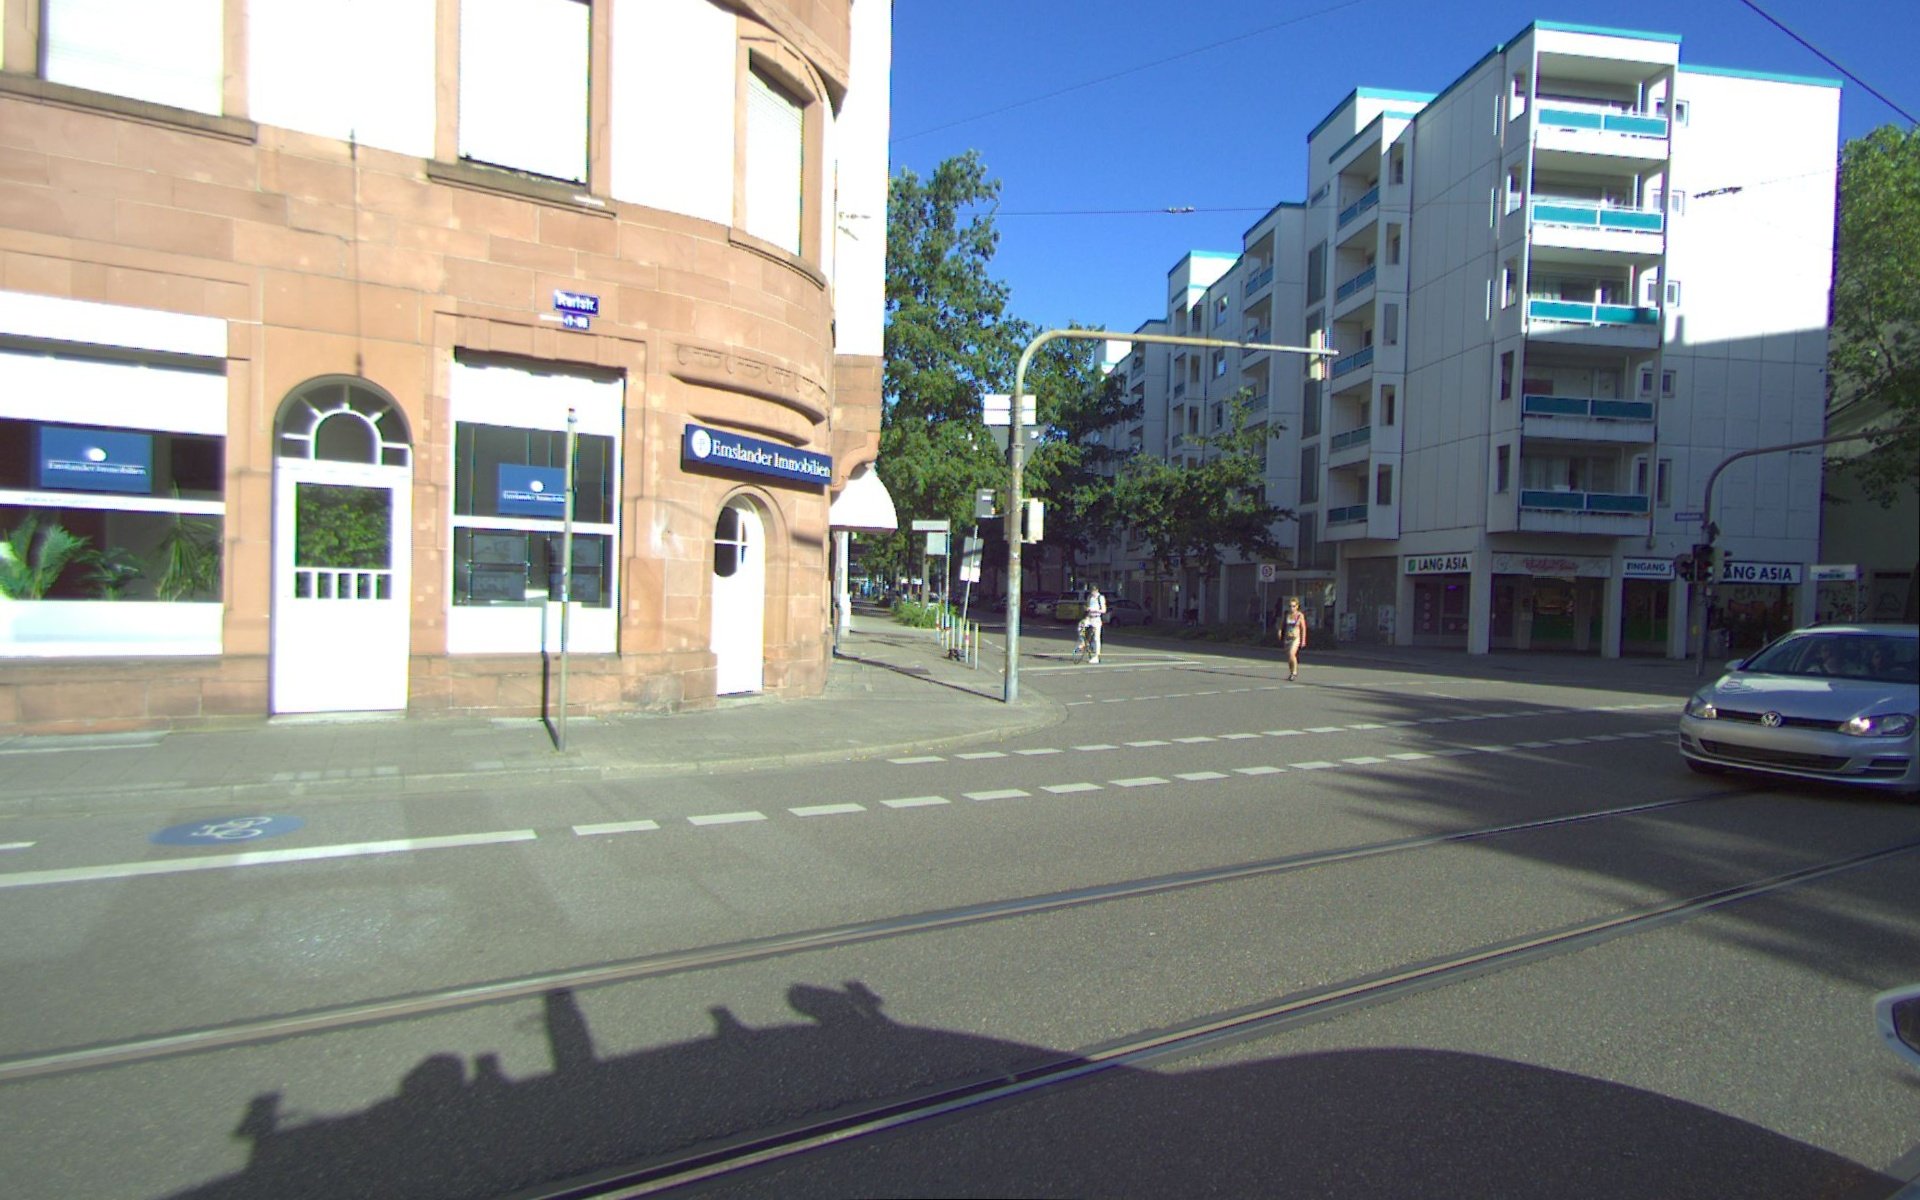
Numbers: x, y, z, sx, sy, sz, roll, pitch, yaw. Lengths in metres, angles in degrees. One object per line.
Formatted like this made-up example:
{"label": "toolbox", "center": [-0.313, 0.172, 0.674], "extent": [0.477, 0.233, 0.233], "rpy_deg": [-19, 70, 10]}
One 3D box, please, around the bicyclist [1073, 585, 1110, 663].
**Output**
{"label": "bicyclist", "center": [3.106, 0.549, 23.720], "extent": [0.603, 1.787, 0.974], "rpy_deg": [2, 1, 21]}

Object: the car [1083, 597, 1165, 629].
{"label": "car", "center": [8.294, 0.635, 50.803], "extent": [3.952, 1.506, 1.593], "rpy_deg": [0, 3, -29]}

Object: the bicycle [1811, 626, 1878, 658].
{"label": "bicycle", "center": [32.391, 1.515, 36.810], "extent": [0.652, 1.048, 1.921], "rpy_deg": [2, 1, -3]}

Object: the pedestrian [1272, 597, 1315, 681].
{"label": "pedestrian", "center": [6.367, 0.741, 19.194], "extent": [0.510, 1.573, 0.539], "rpy_deg": [1, 1, -31]}

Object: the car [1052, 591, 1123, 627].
{"label": "car", "center": [7.148, 0.533, 56.250], "extent": [3.964, 1.900, 1.588], "rpy_deg": [1, 1, -38]}

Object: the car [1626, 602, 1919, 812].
{"label": "car", "center": [8.430, 0.839, 9.434], "extent": [4.259, 1.522, 1.975], "rpy_deg": [1, 1, -31]}

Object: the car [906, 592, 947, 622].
{"label": "car", "center": [-1.861, 0.355, 54.338], "extent": [1.962, 1.483, 3.996], "rpy_deg": [2, 1, -5]}

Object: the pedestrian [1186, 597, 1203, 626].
{"label": "pedestrian", "center": [12.591, 0.614, 54.025], "extent": [0.703, 1.514, 0.744], "rpy_deg": [2, 1, 1]}

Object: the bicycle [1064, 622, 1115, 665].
{"label": "bicycle", "center": [3.085, 1.008, 23.829], "extent": [0.776, 0.921, 1.813], "rpy_deg": [2, 1, 21]}
